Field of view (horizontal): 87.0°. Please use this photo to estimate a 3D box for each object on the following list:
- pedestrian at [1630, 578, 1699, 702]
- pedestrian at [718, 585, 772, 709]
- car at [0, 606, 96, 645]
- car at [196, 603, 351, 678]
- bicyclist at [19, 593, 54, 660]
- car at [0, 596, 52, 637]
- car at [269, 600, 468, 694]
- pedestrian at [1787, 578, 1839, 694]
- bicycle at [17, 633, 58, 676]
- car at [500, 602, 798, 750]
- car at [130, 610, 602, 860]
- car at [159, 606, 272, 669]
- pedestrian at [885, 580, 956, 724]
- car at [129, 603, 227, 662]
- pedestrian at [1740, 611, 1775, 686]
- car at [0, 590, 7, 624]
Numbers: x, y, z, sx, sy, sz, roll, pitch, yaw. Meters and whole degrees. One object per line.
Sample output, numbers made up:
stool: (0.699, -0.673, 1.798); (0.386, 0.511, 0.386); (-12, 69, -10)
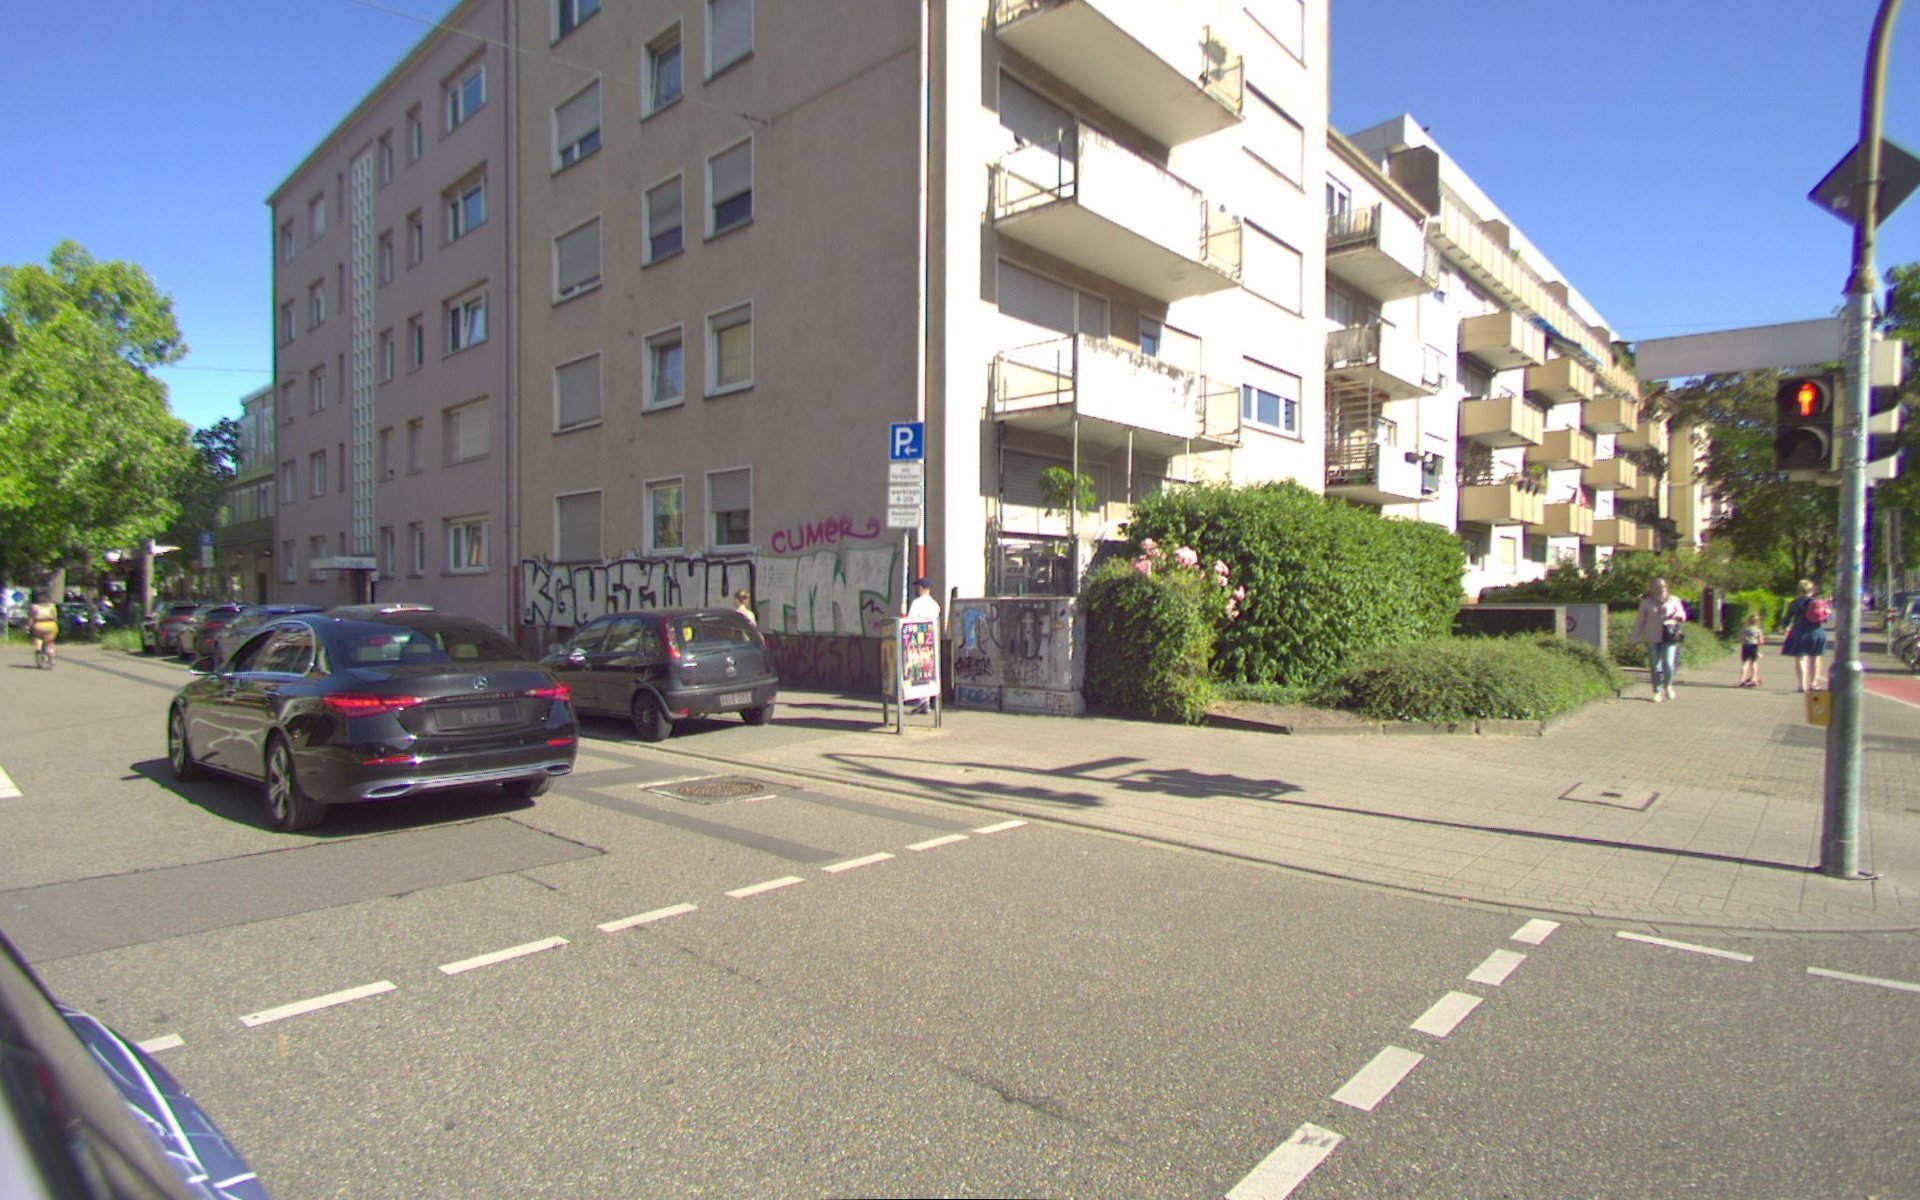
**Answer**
pedestrian: (9.446, 0.520, 13.570); (0.696, 1.608, 0.639); (-1, 0, 41)
pedestrian: (-2.856, 0.609, 13.436); (0.524, 1.593, 0.564); (0, 0, -34)
car: (-38.476, 1.037, 41.903); (1.913, 1.564, 3.942); (-1, 0, 44)
car: (-16.176, 0.871, 23.737); (4.799, 1.514, 1.804); (-1, 2, 41)
bicyclist: (-21.483, 0.612, 23.545); (0.774, 1.532, 0.537); (-1, 0, 42)
car: (-48.820, 0.830, 51.494); (1.913, 2.058, 3.823); (-1, 0, 44)
car: (-11.354, 0.810, 19.285); (4.799, 1.514, 1.804); (-1, 2, 41)
pedestrian: (12.907, 0.520, 15.310); (0.574, 1.696, 0.955); (-1, 0, 41)
bicycle: (-21.367, 1.241, 23.434); (1.826, 0.909, 0.537); (-1, 0, 43)
car: (-3.900, 0.806, 12.401); (3.854, 1.459, 1.674); (-1, 2, 41)
car: (-4.811, 0.809, 7.919); (4.422, 1.424, 1.786); (0, -2, 40)
car: (-19.820, 0.928, 26.885); (4.158, 1.478, 1.704); (0, 2, 44)
pedestrian: (-0.488, 0.619, 12.436); (0.669, 1.701, 0.567); (-1, 0, 42)
car: (-23.683, 0.919, 30.588); (4.158, 1.588, 1.704); (0, 2, 44)
pedestrian: (12.719, 0.763, 16.147); (0.386, 1.155, 0.526); (-1, 0, 33)
car: (-69.674, 0.519, 69.832); (1.974, 2.411, 5.493); (-1, 0, 36)
